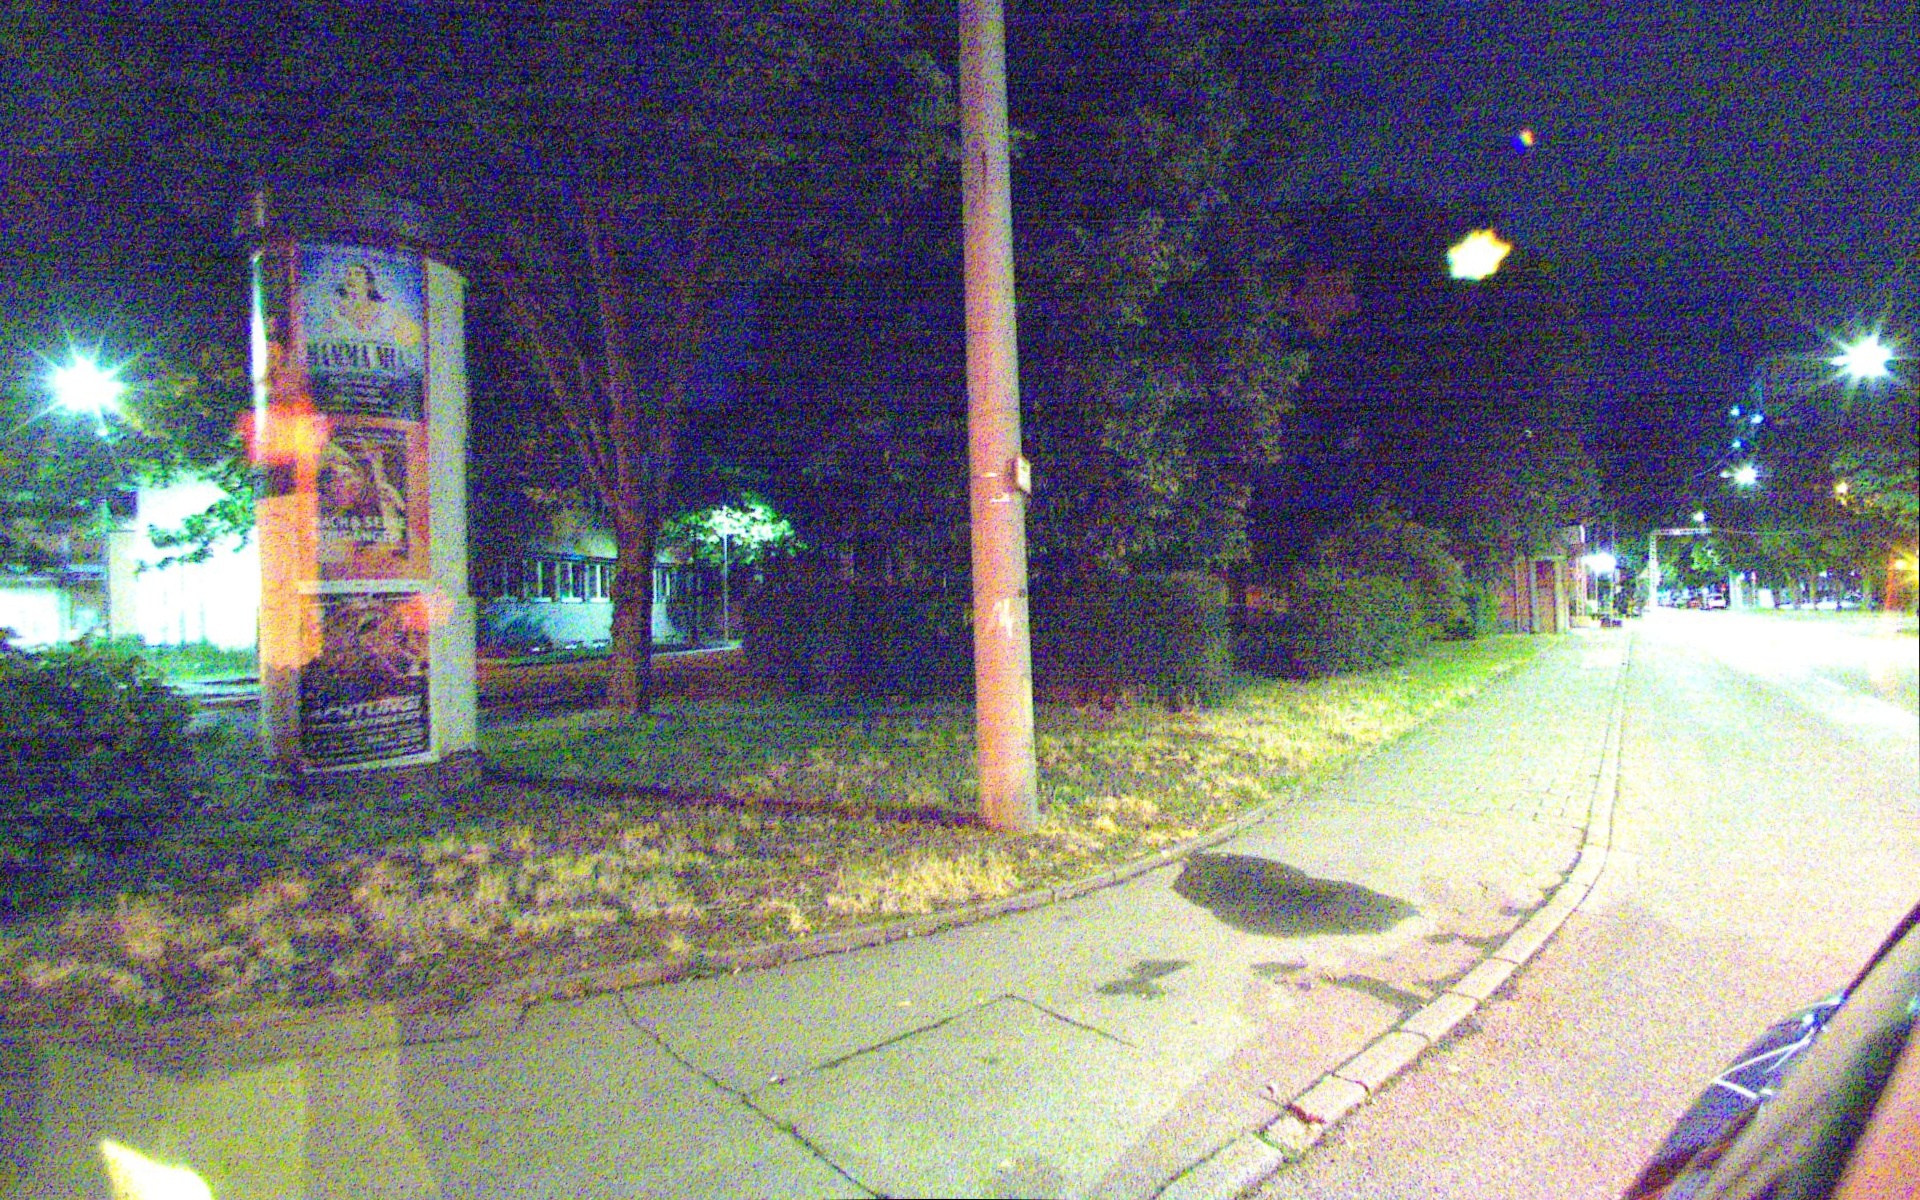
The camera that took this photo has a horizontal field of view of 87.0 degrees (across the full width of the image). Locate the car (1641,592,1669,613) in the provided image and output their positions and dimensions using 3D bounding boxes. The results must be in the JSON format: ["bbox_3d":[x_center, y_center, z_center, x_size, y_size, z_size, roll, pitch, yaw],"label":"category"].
[{"bbox_3d":[50.451,0.174,73.454,1.582,1.480,3.747,-3,-1,36],"label":"car"}]

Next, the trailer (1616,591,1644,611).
[{"bbox_3d":[53.965,0.063,81.481,1.596,1.514,3.683,-3,-2,37],"label":"trailer"}]

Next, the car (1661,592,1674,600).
[{"bbox_3d":[141.067,-0.764,201.710,1.813,1.450,3.689,-5,-2,32],"label":"car"}]

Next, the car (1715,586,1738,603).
[{"bbox_3d":[88.788,-0.631,117.270,1.871,1.832,3.684,-5,-3,35],"label":"car"}]

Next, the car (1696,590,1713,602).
[{"bbox_3d":[103.488,-0.554,140.703,1.815,1.668,3.684,-1,0,35],"label":"car"}]

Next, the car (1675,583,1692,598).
[{"bbox_3d":[127.348,-1.608,178.177,1.990,2.540,4.898,-5,-3,32],"label":"car"}]
